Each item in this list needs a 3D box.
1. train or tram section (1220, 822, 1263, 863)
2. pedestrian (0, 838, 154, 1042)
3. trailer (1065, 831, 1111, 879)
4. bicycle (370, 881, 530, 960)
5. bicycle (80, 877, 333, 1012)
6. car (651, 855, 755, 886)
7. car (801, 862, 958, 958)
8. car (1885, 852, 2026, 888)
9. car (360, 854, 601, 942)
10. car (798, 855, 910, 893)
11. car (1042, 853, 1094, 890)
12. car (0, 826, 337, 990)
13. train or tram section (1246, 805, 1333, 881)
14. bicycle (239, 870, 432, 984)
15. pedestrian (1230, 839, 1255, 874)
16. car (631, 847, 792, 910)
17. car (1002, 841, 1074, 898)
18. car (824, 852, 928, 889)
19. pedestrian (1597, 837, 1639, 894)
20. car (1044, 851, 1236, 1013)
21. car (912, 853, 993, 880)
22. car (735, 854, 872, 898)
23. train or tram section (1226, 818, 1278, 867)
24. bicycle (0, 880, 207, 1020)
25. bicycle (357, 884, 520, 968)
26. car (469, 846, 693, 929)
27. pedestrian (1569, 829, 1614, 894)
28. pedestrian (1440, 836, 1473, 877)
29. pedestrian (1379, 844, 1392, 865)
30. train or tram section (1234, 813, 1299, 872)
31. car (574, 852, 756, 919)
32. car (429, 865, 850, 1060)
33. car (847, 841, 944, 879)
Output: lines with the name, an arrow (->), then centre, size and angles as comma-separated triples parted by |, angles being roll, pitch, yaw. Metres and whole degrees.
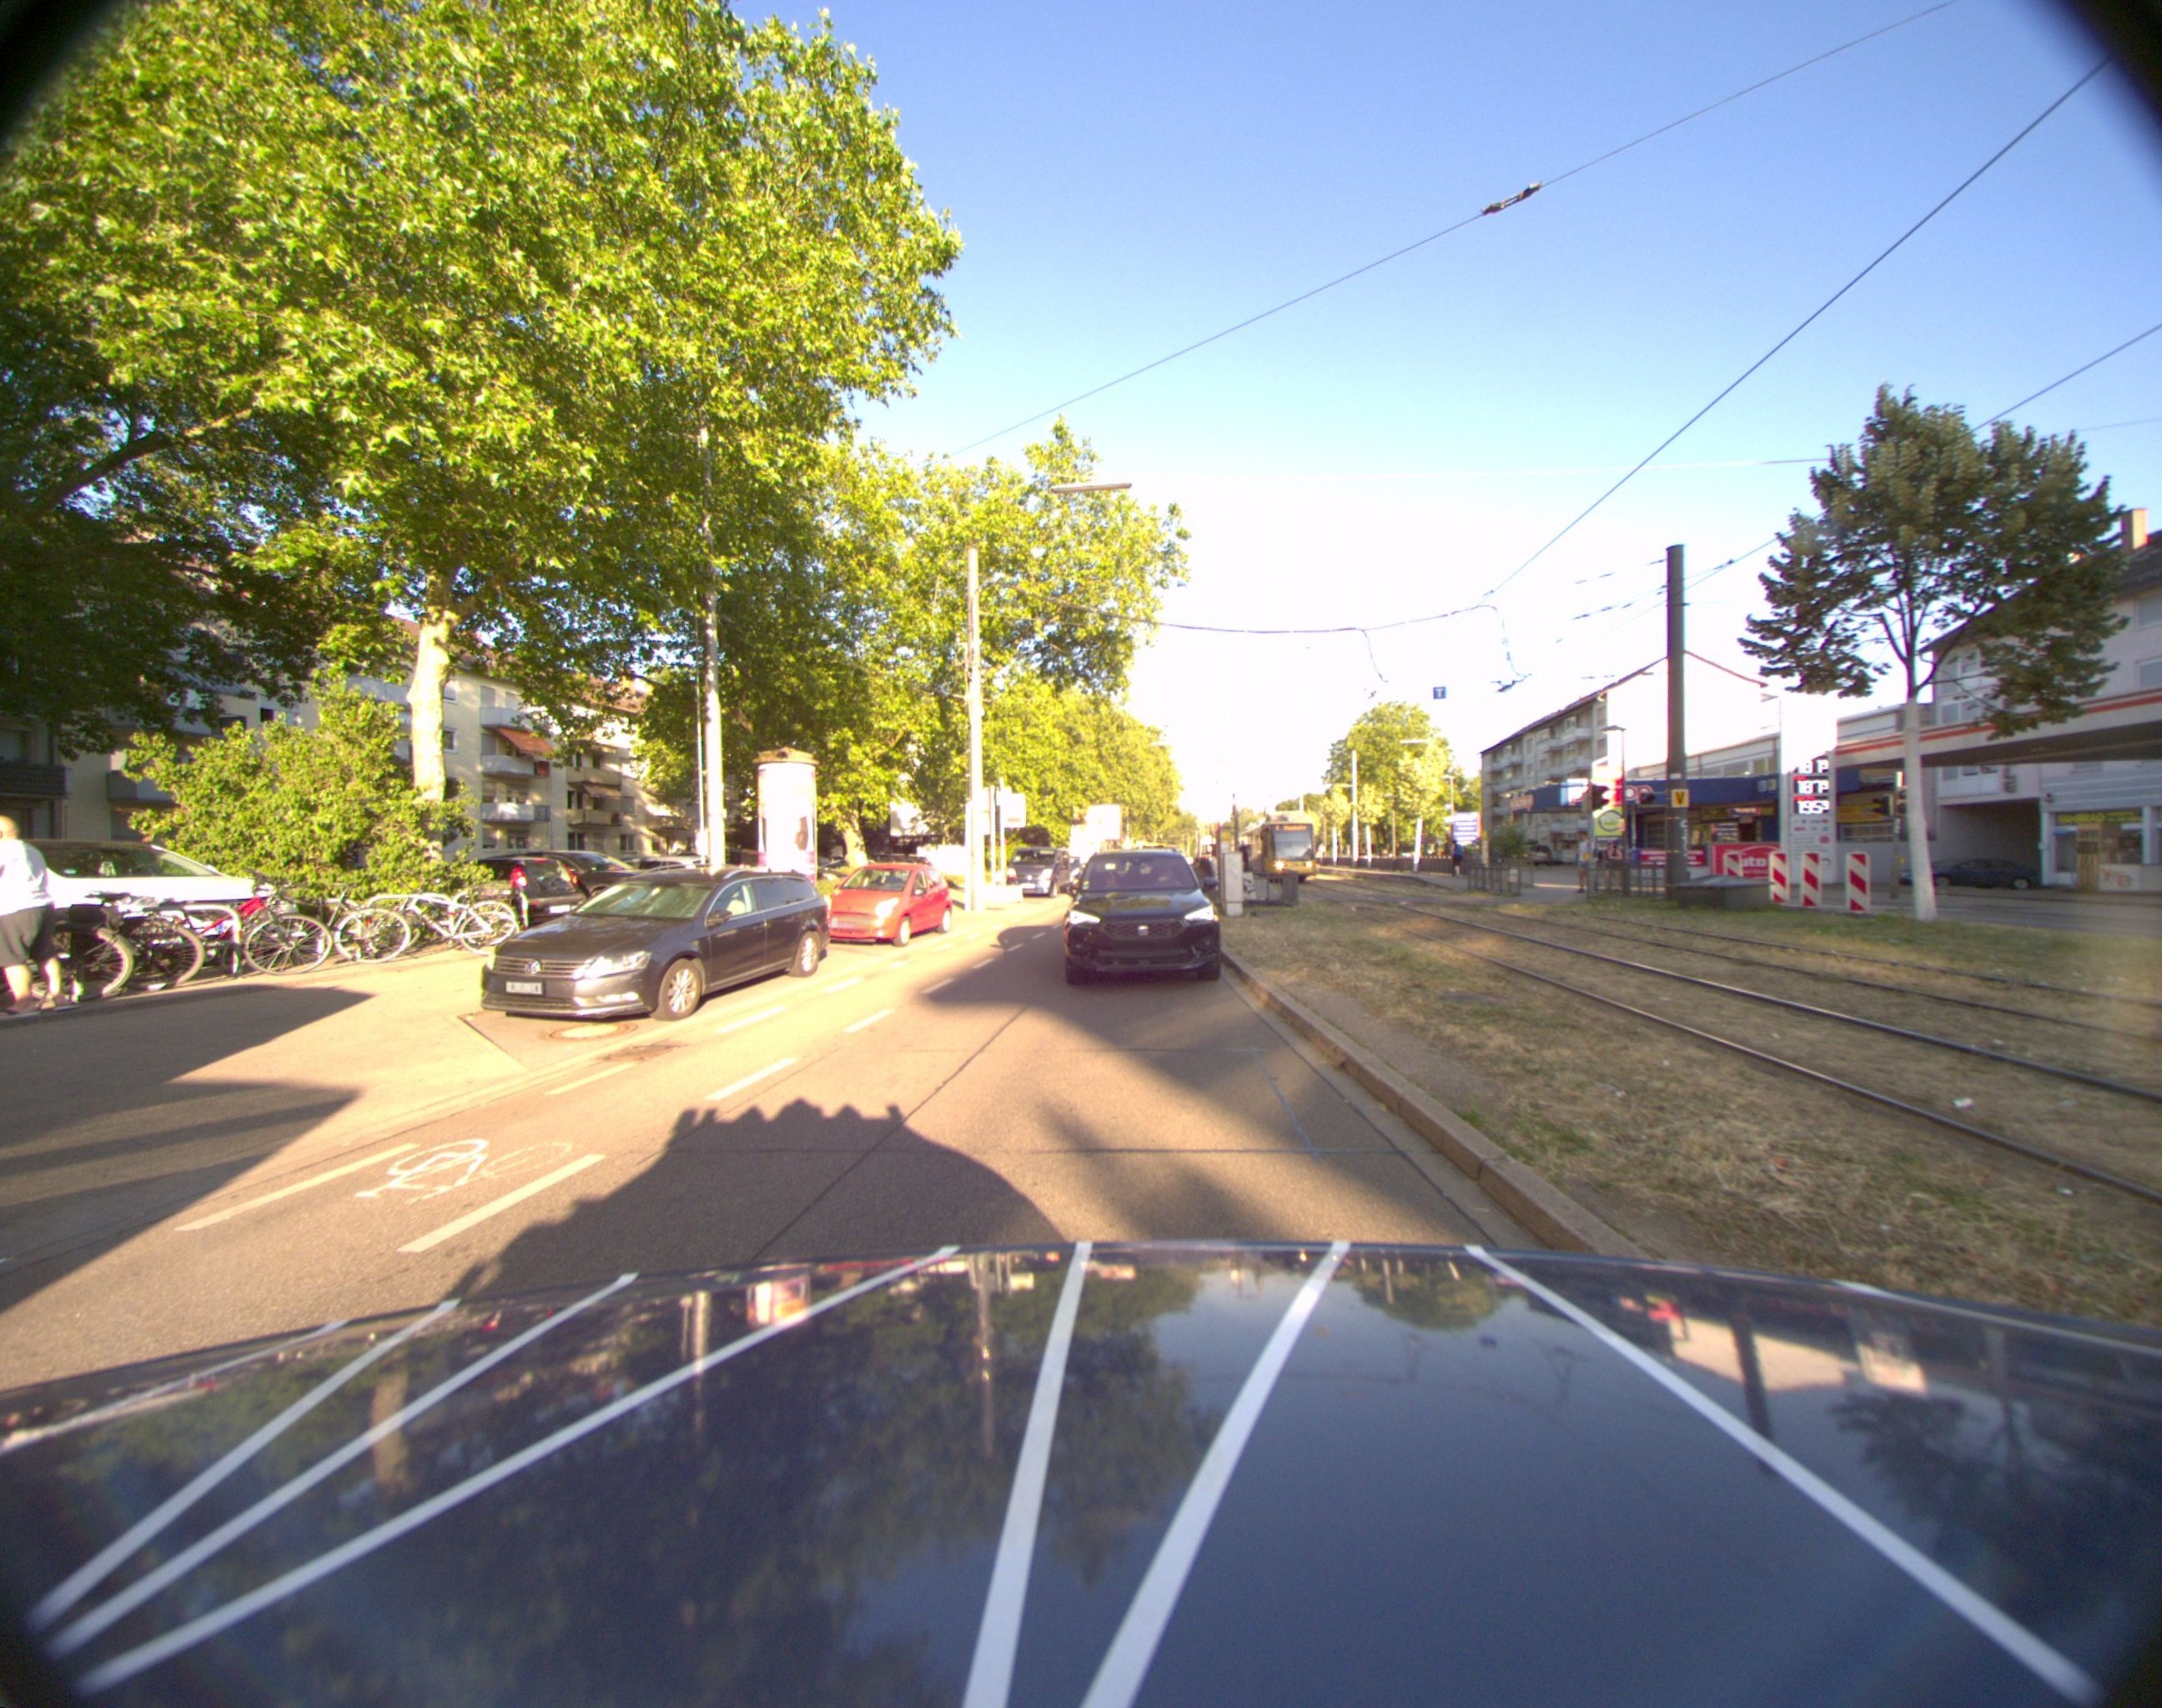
train or tram section -> 14.725, -1.098, 70.327 | 3.041, 3.497, 10.101 | 0, 1, 7
pedestrian -> -8.982, 0.690, 6.569 | 0.660, 1.627, 0.990 | 3, 0, 1
trailer -> 0.472, 0.050, 43.143 | 1.888, 2.573, 4.653 | -1, 0, 9
bicycle -> -9.067, 0.924, 11.007 | 1.682, 1.008, 0.649 | -1, 1, -29
bicycle -> -9.215, 0.903, 8.103 | 1.585, 1.219, 0.650 | -3, 1, -29
car -> -19.226, 0.840, 38.786 | 4.290, 1.487, 2.001 | -1, 0, 5
car -> -3.702, 0.961, 14.638 | 1.572, 1.486, 3.628 | 2, 1, 9
car -> 38.803, 0.714, 33.816 | 3.801, 1.514, 1.819 | -1, 0, 12
car -> -11.964, 0.852, 15.266 | 3.504, 1.474, 1.775 | -4, 0, 7
car -> -9.485, 0.820, 31.865 | 4.119, 1.486, 1.804 | -1, 0, 10
car -> -0.548, 0.786, 36.313 | 1.799, 1.621, 4.002 | 0, 0, 9
car -> -12.465, 0.689, 9.501 | 4.627, 1.699, 2.001 | -4, 0, 8
train or tram section -> 10.777, -0.606, 40.302 | 3.041, 3.497, 10.101 | 0, 1, 7
bicycle -> -8.948, 0.832, 9.215 | 1.586, 1.219, 0.646 | -1, 1, -38
pedestrian -> 7.520, 0.117, 35.413 | 0.918, 1.541, 0.789 | -2, 1, 0
car -> -10.876, 0.710, 22.476 | 3.847, 1.622, 1.858 | -3, 0, 10
car -> -1.593, 0.543, 30.039 | 1.888, 2.066, 4.565 | -1, 0, 9
car -> -9.239, 0.732, 34.321 | 4.119, 1.590, 1.804 | -1, 0, 10
pedestrian -> 16.765, 0.364, 23.745 | 0.754, 1.737, 0.861 | -1, 1, 5
car -> 0.754, 0.819, 9.945 | 1.910, 1.606, 4.087 | -3, 0, 4
car -> -7.462, 0.702, 44.492 | 4.290, 1.487, 2.001 | -1, 0, 5
car -> -9.675, 0.752, 26.608 | 4.119, 1.486, 1.804 | -1, 0, 10
train or tram section -> 13.410, -0.920, 60.328 | 3.041, 3.497, 10.101 | 0, 1, 7
bicycle -> -9.463, 0.877, 7.173 | 1.523, 1.219, 0.402 | -1, 1, -31
bicycle -> -8.729, 0.954, 10.409 | 1.585, 1.008, 0.649 | -1, 1, -29
car -> -11.518, 0.742, 17.652 | 4.029, 1.591, 1.857 | -4, 0, 8
pedestrian -> 15.354, 0.227, 22.862 | 0.859, 1.921, 0.756 | -1, 1, 6
pedestrian -> 15.942, 0.096, 32.249 | 0.936, 1.644, 0.926 | -3, 0, 9
pedestrian -> 27.987, 0.003, 69.852 | 0.754, 1.871, 1.001 | -4, 0, 7
train or tram section -> 12.088, -0.766, 50.326 | 3.041, 3.497, 10.101 | 0, 1, 7
car -> -11.017, 0.806, 20.232 | 3.847, 1.486, 1.858 | -4, 0, 10
car -> -4.574, 0.961, 8.907 | 1.699, 1.522, 4.655 | 2, 1, 9
car -> -8.909, 0.289, 36.655 | 4.119, 1.541, 1.804 | -3, 0, 10
